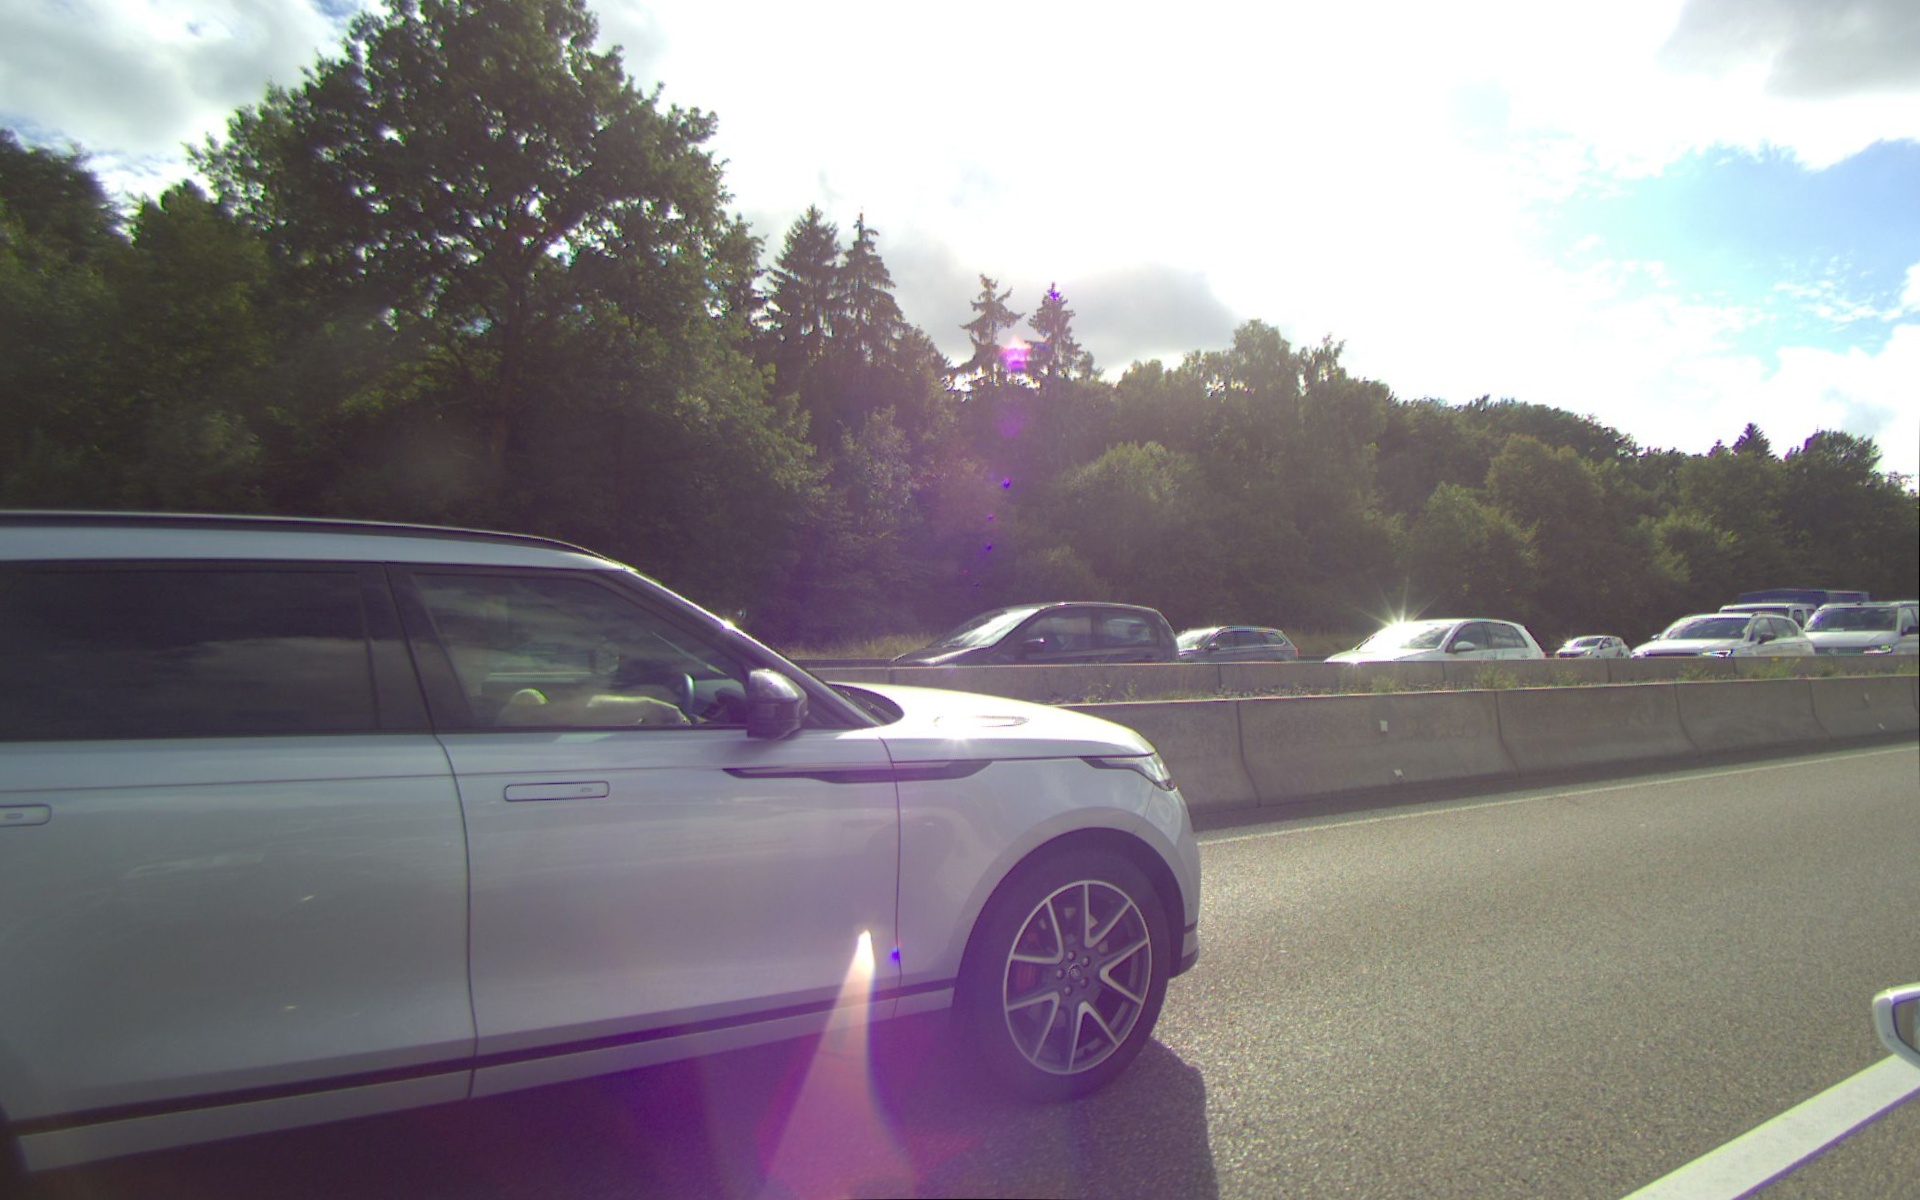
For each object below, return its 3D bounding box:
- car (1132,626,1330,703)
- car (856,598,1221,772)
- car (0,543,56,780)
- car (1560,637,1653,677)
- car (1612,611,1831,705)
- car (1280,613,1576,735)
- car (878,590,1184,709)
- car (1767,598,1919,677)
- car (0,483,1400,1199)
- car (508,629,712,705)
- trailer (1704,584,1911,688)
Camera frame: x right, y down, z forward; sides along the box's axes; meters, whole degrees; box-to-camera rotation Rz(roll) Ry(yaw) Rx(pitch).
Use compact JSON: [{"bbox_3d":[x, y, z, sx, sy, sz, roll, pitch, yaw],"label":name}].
[{"bbox_3d":[6.338,1.456,23.449,4.304,1.593,1.985,1,0,-29],"label":"car"},{"bbox_3d":[0.857,0.824,10.996,3.468,1.593,1.985,1,0,-29],"label":"car"},{"bbox_3d":[-8.753,0.357,5.604,5.144,1.593,1.985,1,0,-29],"label":"car"},{"bbox_3d":[28.874,2.521,44.863,4.023,1.593,1.802,1,0,-29],"label":"car"},{"bbox_3d":[14.586,1.056,19.198,4.304,1.593,1.758,1,0,-29],"label":"car"},{"bbox_3d":[7.224,1.054,15.445,4.304,1.593,1.985,1,0,-29],"label":"car"},{"bbox_3d":[1.117,0.707,15.412,4.304,1.593,1.985,1,0,-29],"label":"car"},{"bbox_3d":[21.130,0.849,23.238,5.264,1.593,1.984,2,1,-29],"label":"car"},{"bbox_3d":[-1.060,0.653,3.230,5.045,1.628,1.891,2,-1,-30],"label":"car"},{"bbox_3d":[-8.306,1.531,23.899,4.305,1.593,1.984,1,0,-30],"label":"car"},{"bbox_3d":[26.008,1.097,30.683,8.445,2.823,2.267,2,0,-32],"label":"trailer"}]
